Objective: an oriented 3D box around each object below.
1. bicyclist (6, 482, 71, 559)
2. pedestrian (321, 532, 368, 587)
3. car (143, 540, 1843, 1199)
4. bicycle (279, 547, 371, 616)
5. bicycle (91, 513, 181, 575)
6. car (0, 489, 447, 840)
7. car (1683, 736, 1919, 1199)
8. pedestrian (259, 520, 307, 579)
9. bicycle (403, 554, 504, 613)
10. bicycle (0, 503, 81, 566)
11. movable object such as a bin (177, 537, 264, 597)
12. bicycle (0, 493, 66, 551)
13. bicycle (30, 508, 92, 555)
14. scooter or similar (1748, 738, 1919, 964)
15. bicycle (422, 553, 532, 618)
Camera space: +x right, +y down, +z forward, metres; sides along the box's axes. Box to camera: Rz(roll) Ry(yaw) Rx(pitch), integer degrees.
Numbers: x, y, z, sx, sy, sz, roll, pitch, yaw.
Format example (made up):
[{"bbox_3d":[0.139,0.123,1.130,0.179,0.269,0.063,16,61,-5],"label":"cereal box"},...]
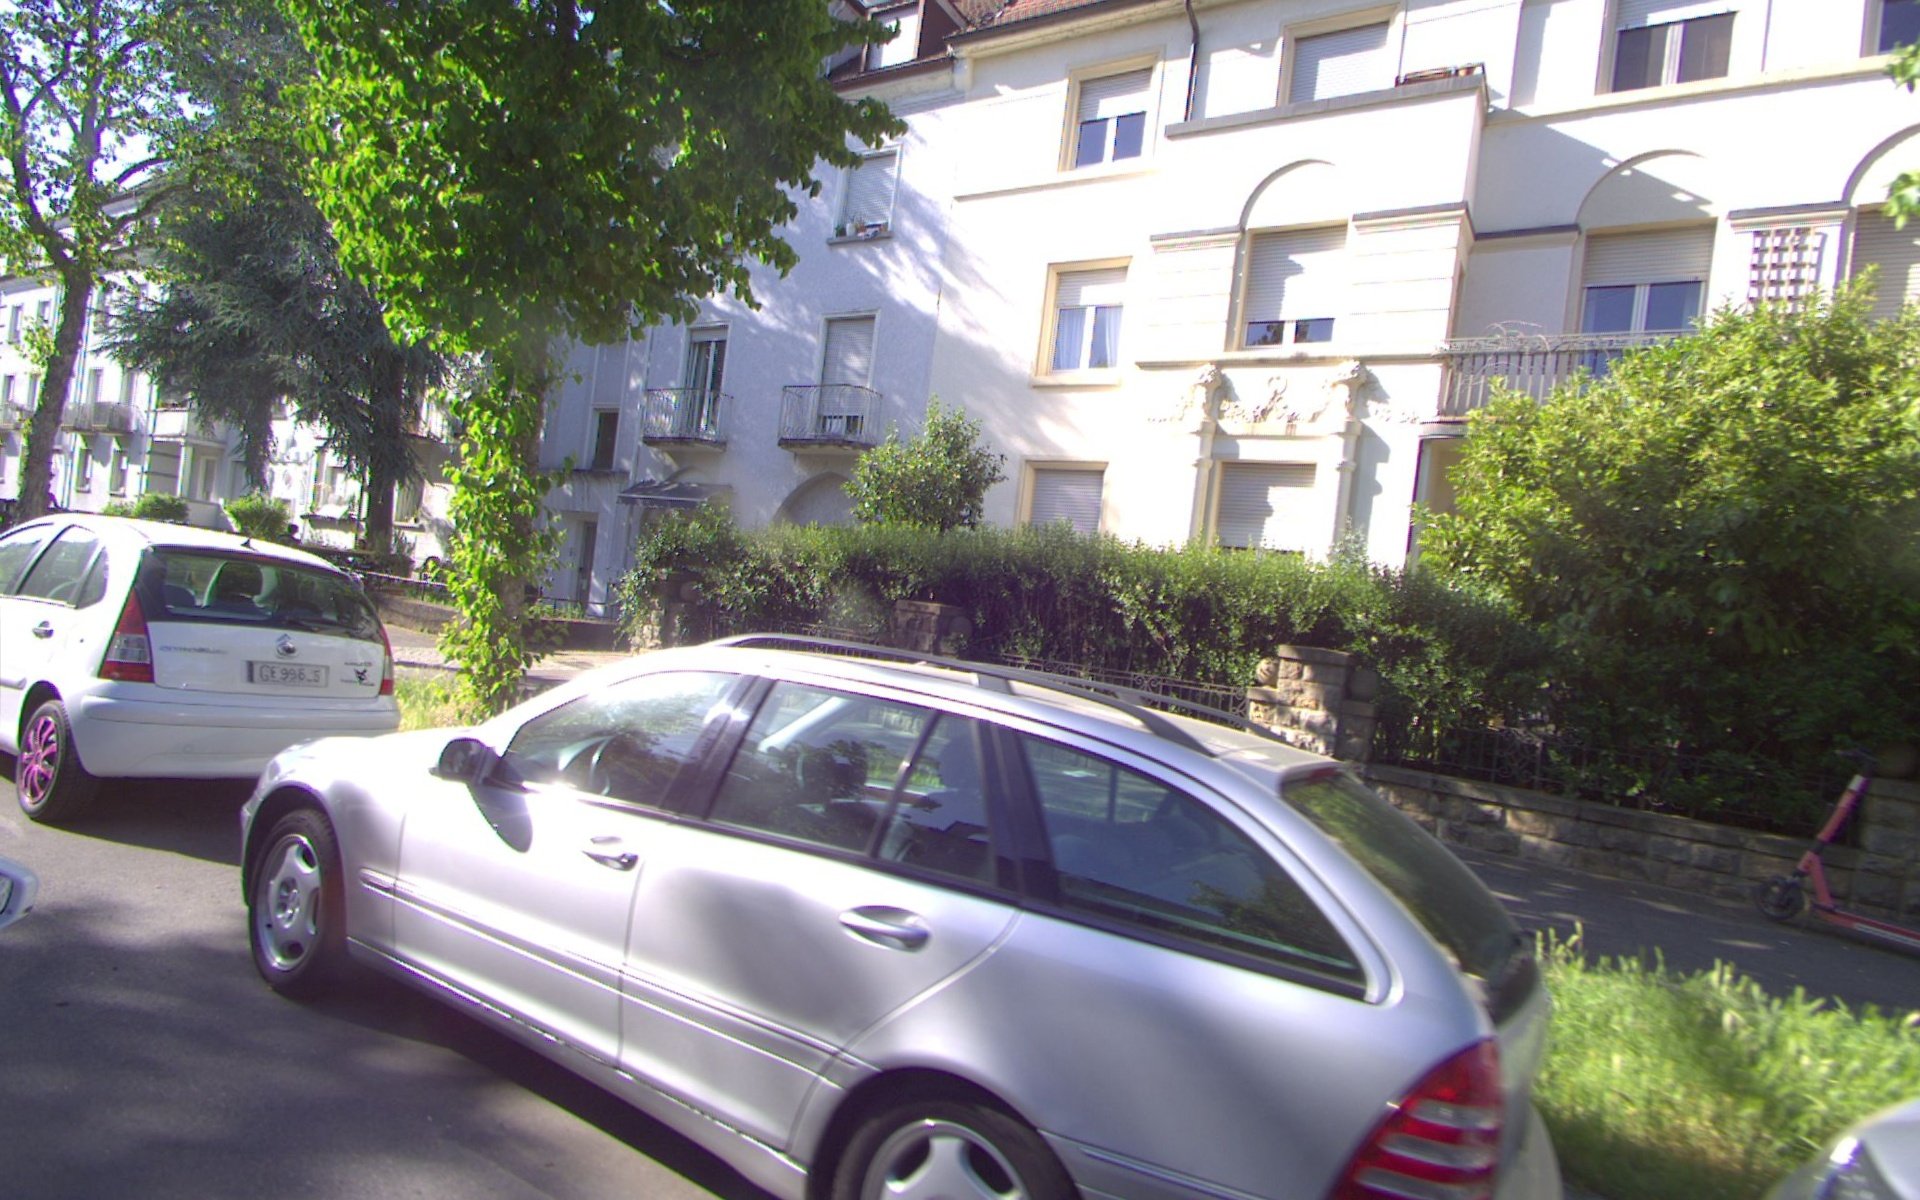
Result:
[{"bbox_3d":[-20.523,-1.765,22.397,1.004,1.573,0.677,7,1,29],"label":"bicyclist"},{"bbox_3d":[-14.161,-0.925,23.145,0.743,1.156,0.510,7,0,31],"label":"pedestrian"},{"bbox_3d":[-0.527,0.815,3.302,4.780,1.427,1.714,7,-2,31],"label":"car"},{"bbox_3d":[-10.976,-0.330,17.368,1.873,0.987,0.581,7,1,34],"label":"bicycle"},{"bbox_3d":[-18.223,-1.243,22.247,1.966,1.129,0.805,7,-1,30],"label":"bicycle"},{"bbox_3d":[-5.250,0.222,6.312,3.903,1.549,1.658,7,-3,31],"label":"car"},{"bbox_3d":[3.552,1.245,0.604,4.827,1.486,1.825,7,-2,31],"label":"car"},{"bbox_3d":[-14.590,-1.090,21.691,0.744,1.156,0.510,7,0,34],"label":"pedestrian"},{"bbox_3d":[-11.273,-0.357,22.443,0.574,1.114,1.897,7,0,35],"label":"bicycle"},{"bbox_3d":[-20.591,-1.475,22.420,2.362,1.168,0.685,7,1,29],"label":"bicycle"},{"bbox_3d":[-13.982,-0.627,19.043,1.215,0.916,1.647,7,0,-37],"label":"movable object such as a bin"},{"bbox_3d":[-24.008,-2.021,25.802,2.193,1.272,0.840,7,-1,29],"label":"bicycle"},{"bbox_3d":[-21.995,-1.684,24.611,1.872,0.969,0.596,7,1,32],"label":"bicycle"},{"bbox_3d":[5.791,1.573,6.294,0.400,1.200,1.191,6,1,-42],"label":"scooter or similar"},{"bbox_3d":[-9.795,-0.280,20.479,0.574,1.114,1.897,7,0,35],"label":"bicycle"}]
